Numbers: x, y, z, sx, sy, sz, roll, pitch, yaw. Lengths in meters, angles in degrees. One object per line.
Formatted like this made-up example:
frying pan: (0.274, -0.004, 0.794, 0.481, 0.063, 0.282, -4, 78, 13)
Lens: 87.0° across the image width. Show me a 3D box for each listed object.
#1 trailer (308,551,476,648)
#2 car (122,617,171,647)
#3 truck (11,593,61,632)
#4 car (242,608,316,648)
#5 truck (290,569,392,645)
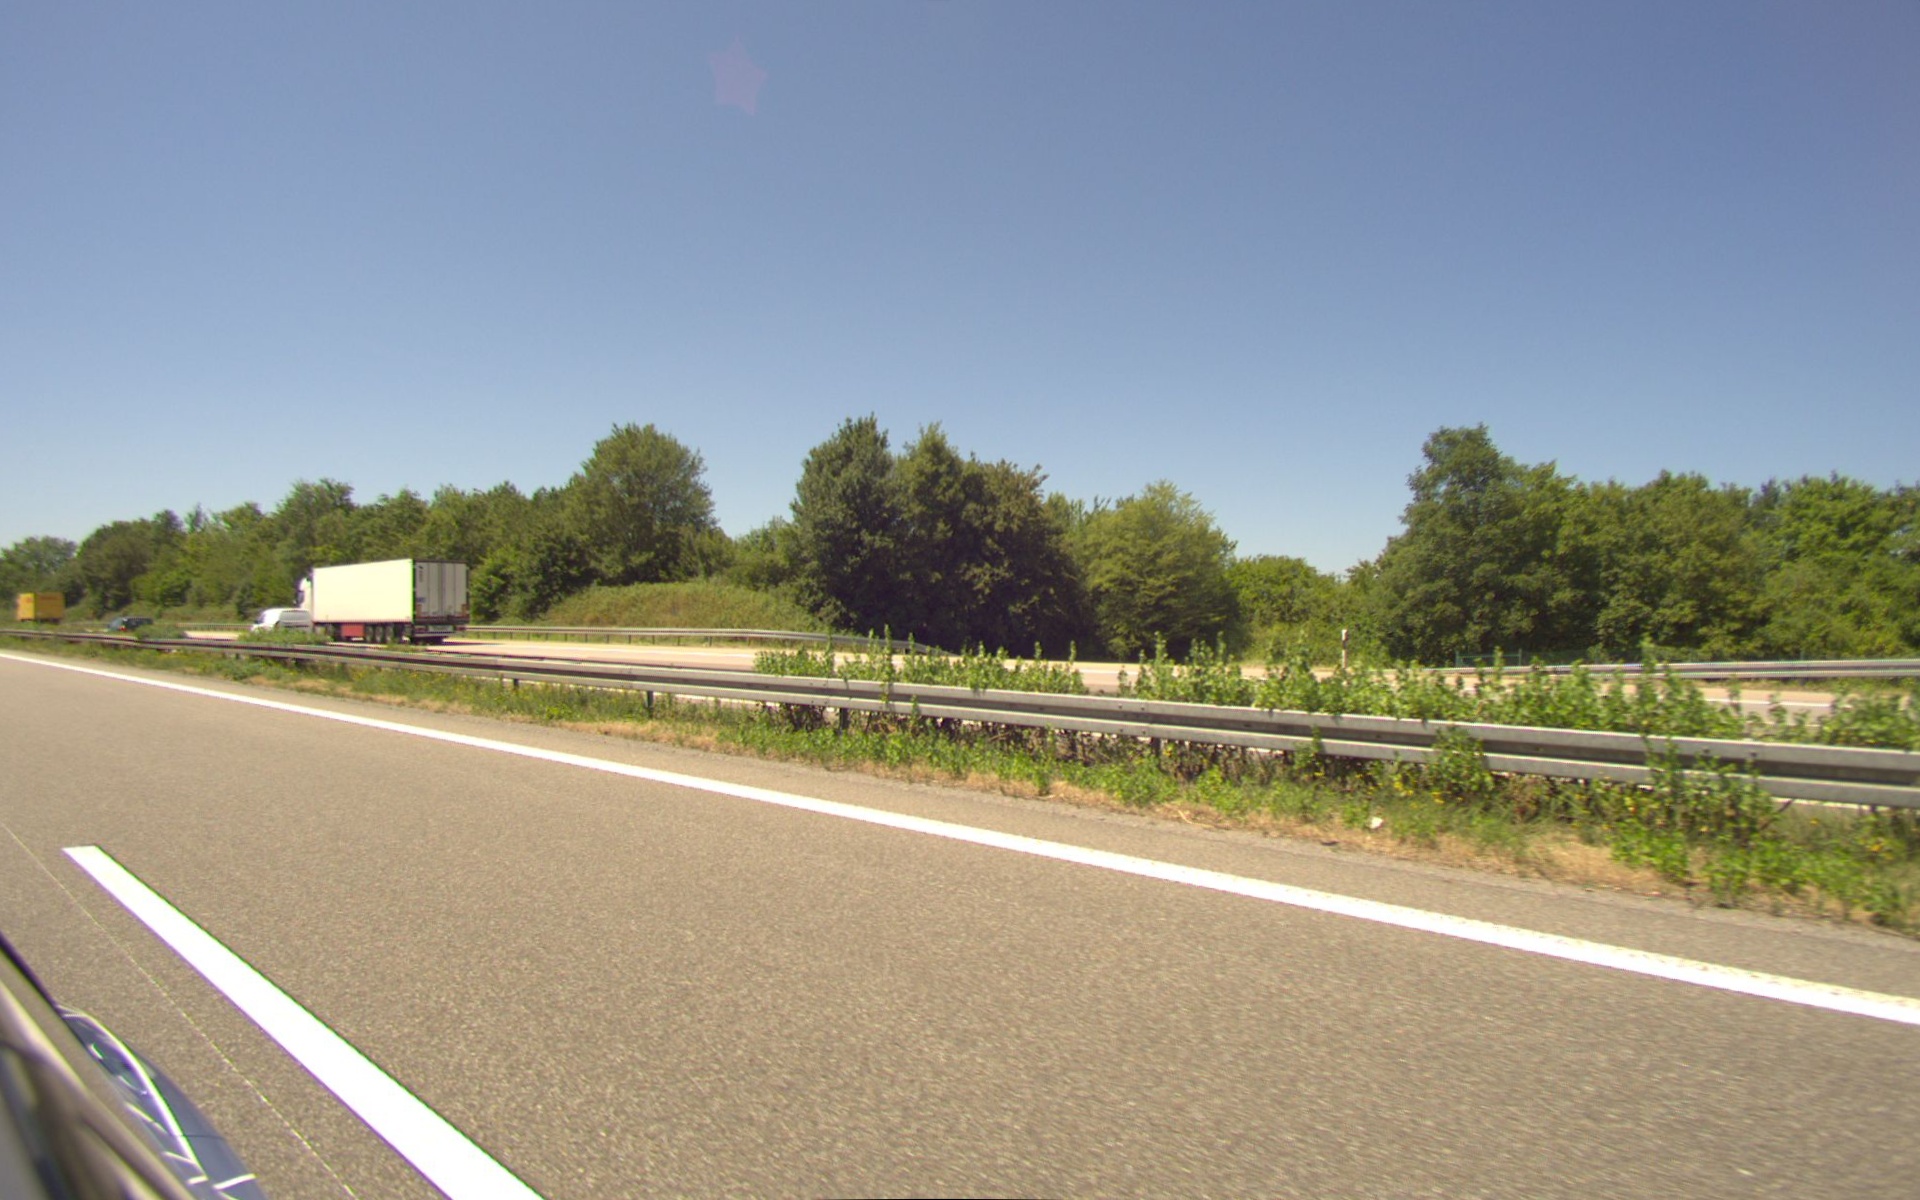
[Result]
trailer: (-29.406, 0.082, 51.939, 13.582, 4.395, 3.276, -1, -1, 42)
car: (-41.319, 1.595, 51.384, 3.454, 1.438, 1.359, -1, -1, 41)
truck: (-101.548, 1.363, 111.160, 10.783, 4.071, 2.722, 0, 0, 40)
car: (-34.153, 1.370, 50.722, 4.874, 1.890, 1.797, -1, -1, 40)
truck: (-34.628, 0.410, 56.581, 6.098, 3.981, 3.226, -1, 0, 41)
